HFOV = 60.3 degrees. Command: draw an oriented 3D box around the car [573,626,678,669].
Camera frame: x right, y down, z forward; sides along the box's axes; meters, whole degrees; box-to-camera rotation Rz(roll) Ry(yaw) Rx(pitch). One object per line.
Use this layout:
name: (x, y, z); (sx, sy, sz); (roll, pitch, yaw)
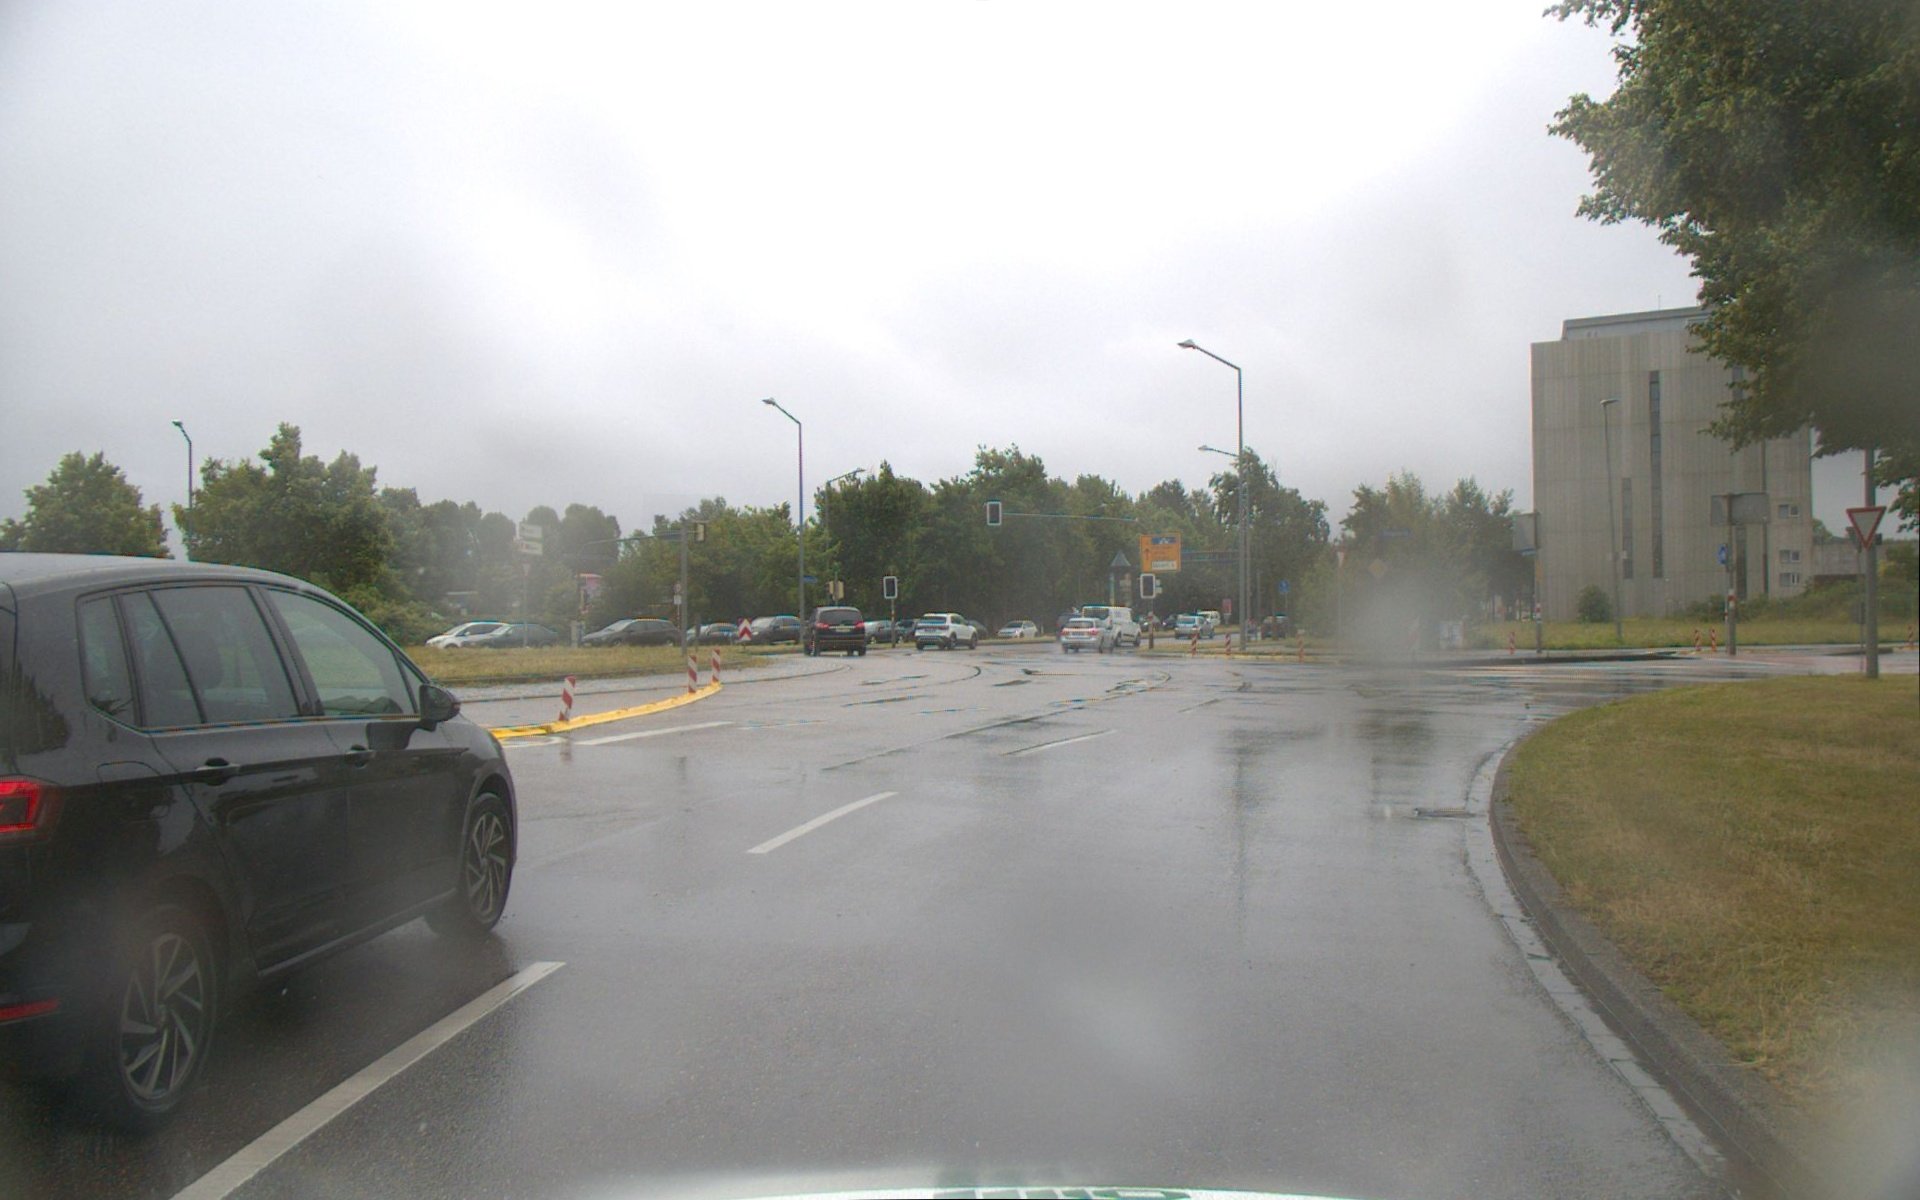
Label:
car: (-14.027, 1.996, 69.371); (3.948, 1.677, 1.769); (2, -2, -32)

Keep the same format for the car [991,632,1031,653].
car: (3.573, 2.975, 114.748); (1.593, 1.400, 4.251); (1, -1, 19)

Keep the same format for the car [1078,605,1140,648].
car: (7.679, 1.375, 84.868); (1.749, 2.072, 3.994); (1, -2, 28)

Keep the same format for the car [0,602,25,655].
car: (-34.448, 0.908, 55.842); (4.814, 1.774, 1.754); (3, -2, -38)

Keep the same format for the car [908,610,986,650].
car: (-0.534, 1.368, 73.795); (1.650, 1.676, 3.937); (1, -2, 31)

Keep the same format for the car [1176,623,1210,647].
car: (14.928, 2.227, 105.934); (1.653, 1.518, 3.253); (-1, 0, 17)

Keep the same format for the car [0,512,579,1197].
car: (-2.859, 0.606, 5.947); (1.746, 1.544, 4.333); (1, -1, 3)

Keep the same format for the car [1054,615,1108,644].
car: (6.589, 1.616, 89.766); (1.657, 1.518, 3.244); (1, -2, 30)

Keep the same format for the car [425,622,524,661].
car: (-21.758, 1.863, 74.145); (3.948, 1.677, 1.769); (2, -2, -32)

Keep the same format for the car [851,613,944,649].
car: (-3.133, 1.571, 83.075); (4.328, 1.677, 1.773); (2, -2, -28)

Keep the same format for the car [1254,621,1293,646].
car: (19.538, 2.085, 102.969); (1.655, 1.518, 3.249); (-1, 0, 24)

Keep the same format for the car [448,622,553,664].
car: (-19.454, 1.824, 70.017); (3.948, 1.677, 1.769); (2, -2, -32)

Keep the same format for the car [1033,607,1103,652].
car: (4.582, 1.238, 70.834); (1.752, 1.842, 4.823); (-1, -1, -12)

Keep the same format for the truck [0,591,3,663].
truck: (-40.897, 0.909, 61.810); (8.698, 2.759, 1.975); (2, -2, -36)

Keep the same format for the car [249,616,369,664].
car: (-24.616, 1.519, 62.527); (3.948, 1.677, 1.769); (2, -2, -32)

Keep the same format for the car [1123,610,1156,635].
car: (15.124, 1.913, 139.015); (1.752, 2.049, 3.672); (1, -2, 23)

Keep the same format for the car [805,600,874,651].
car: (-4.206, 0.887, 57.057); (1.753, 1.676, 3.986); (2, -1, -13)
